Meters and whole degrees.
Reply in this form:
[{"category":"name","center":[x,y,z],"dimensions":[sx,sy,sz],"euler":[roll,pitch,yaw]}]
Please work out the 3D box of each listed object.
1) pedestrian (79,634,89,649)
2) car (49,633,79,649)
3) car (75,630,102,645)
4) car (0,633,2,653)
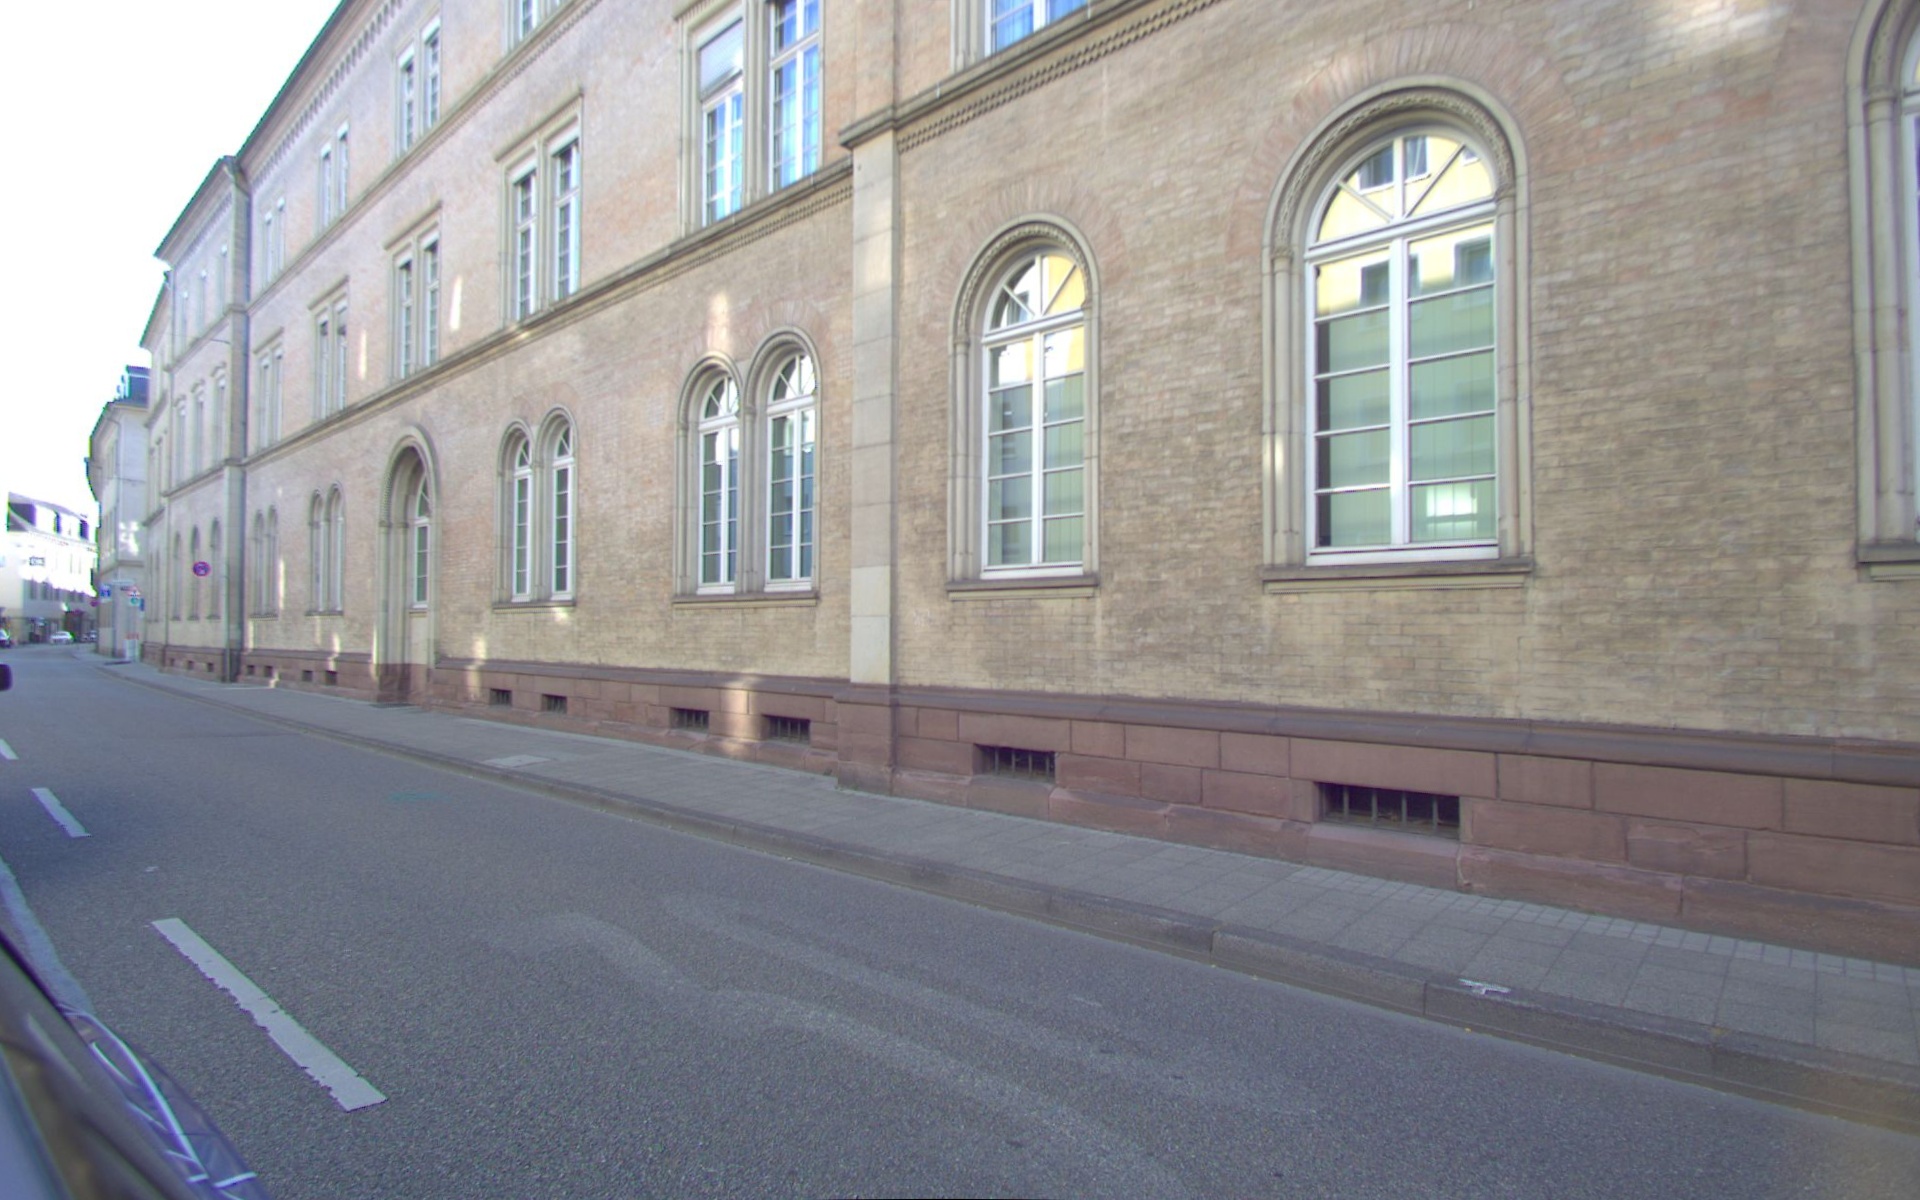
[{"category":"pedestrian","center":[-99.595,4.687,115.080],"dimensions":[0.694,1.648,0.834],"euler":[5,-4,-38]},{"category":"car","center":[-102.842,4.646,116.167],"dimensions":[1.966,1.665,4.240],"euler":[-1,0,-33]},{"category":"car","center":[-109.216,4.721,126.820],"dimensions":[1.966,1.665,4.240],"euler":[-1,0,-33]},{"category":"car","center":[-86.601,3.862,89.942],"dimensions":[1.969,1.665,4.235],"euler":[-1,0,-41]}]
